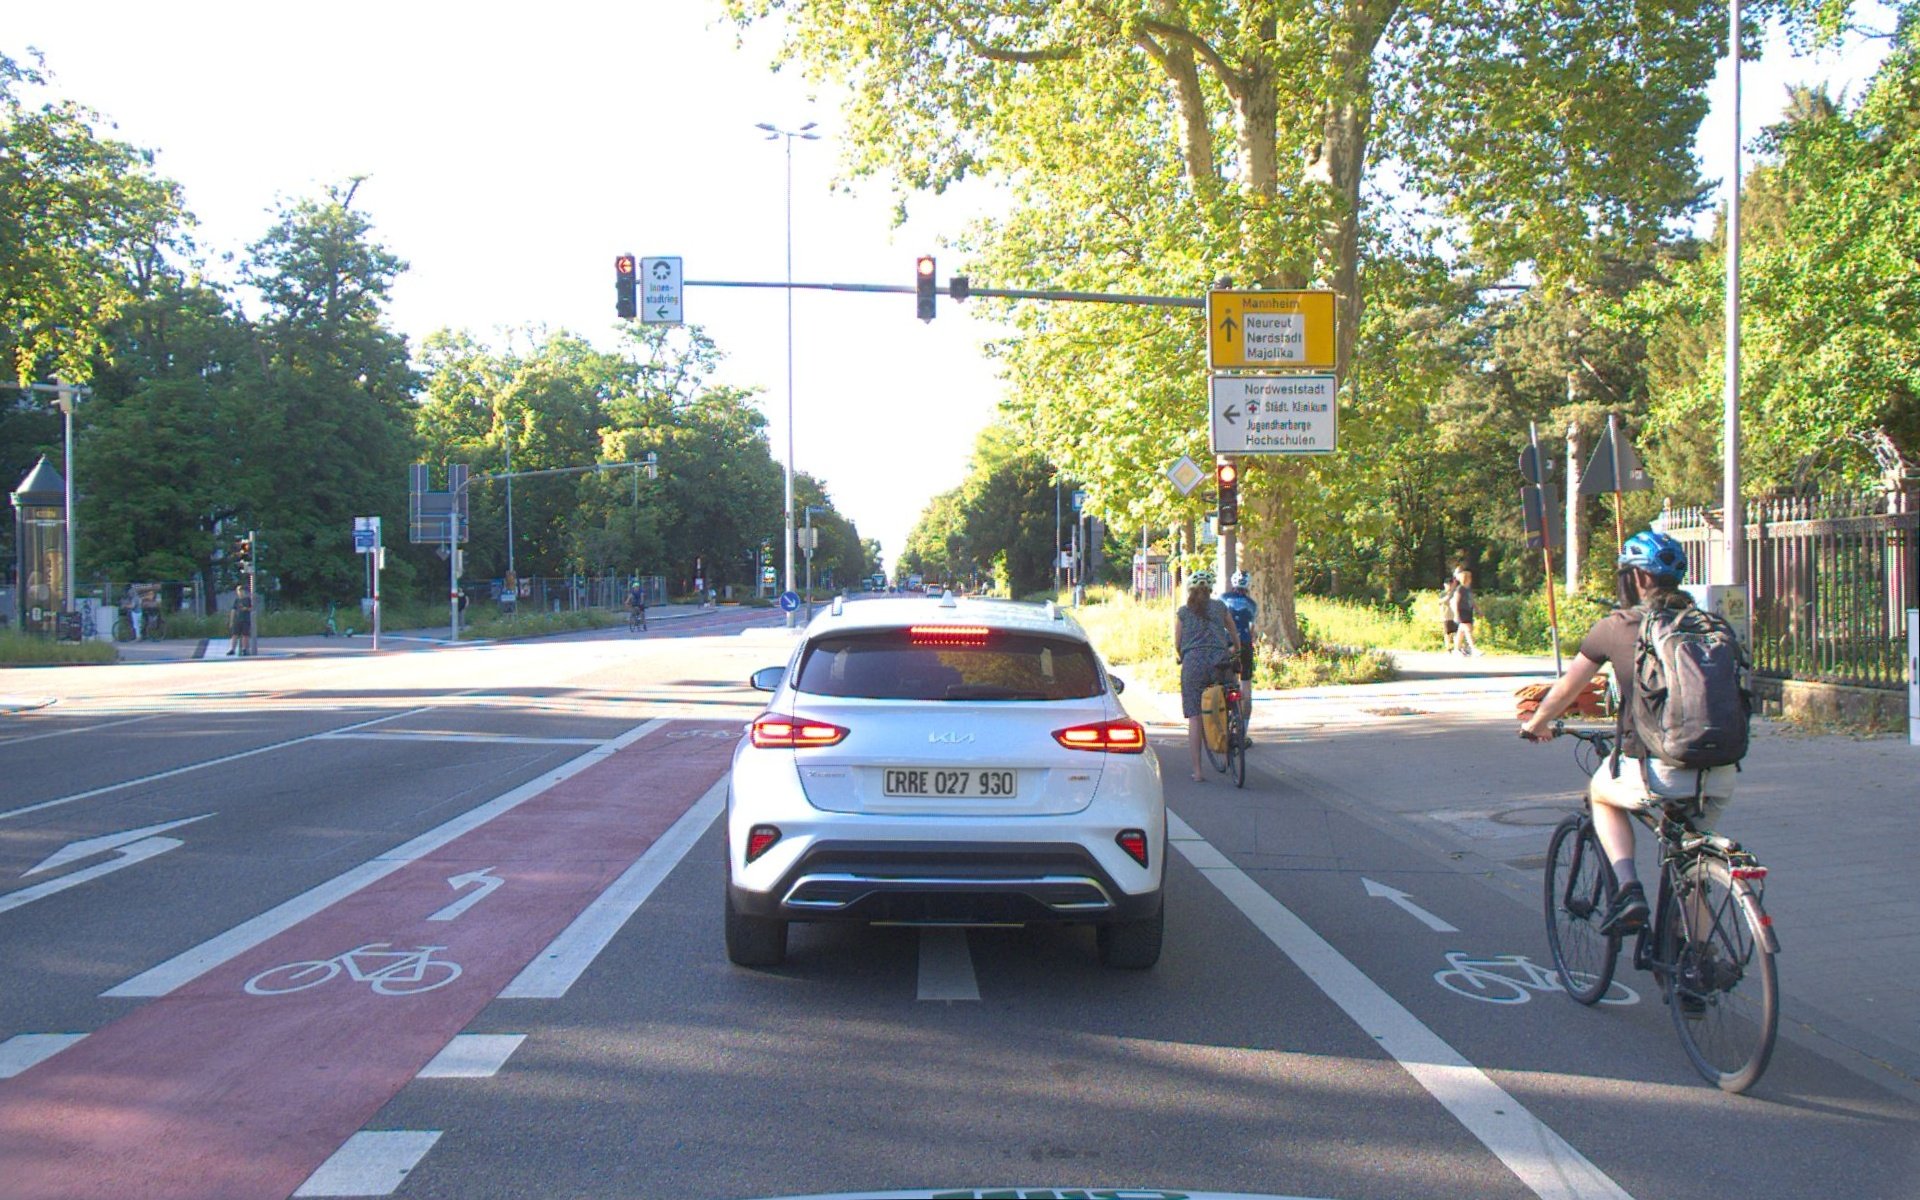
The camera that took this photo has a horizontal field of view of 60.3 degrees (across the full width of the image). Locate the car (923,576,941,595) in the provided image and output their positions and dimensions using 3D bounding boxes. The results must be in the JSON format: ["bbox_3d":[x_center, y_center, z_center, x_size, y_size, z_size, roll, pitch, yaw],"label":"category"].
[{"bbox_3d":[-3.092,-1.651,185.090,1.953,2.049,3.999,-1,1,-1],"label":"car"}]

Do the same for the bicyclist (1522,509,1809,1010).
[{"bbox_3d":[2.425,0.519,5.753,0.652,1.630,0.720,1,0,-2],"label":"bicyclist"}]

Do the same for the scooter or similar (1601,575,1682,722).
[{"bbox_3d":[6.538,0.442,15.904,0.223,1.350,1.171,-1,0,-2],"label":"scooter or similar"}]

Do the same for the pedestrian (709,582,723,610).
[{"bbox_3d":[-15.527,-0.258,105.296,0.769,1.817,0.751,0,0,0],"label":"pedestrian"}]

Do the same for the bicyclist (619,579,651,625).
[{"bbox_3d":[-11.874,0.064,60.492,0.857,1.636,1.188,-1,0,1],"label":"bicyclist"}]

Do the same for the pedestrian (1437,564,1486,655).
[{"bbox_3d":[9.647,0.176,31.809,0.676,1.729,0.643,-1,0,-7],"label":"pedestrian"}]

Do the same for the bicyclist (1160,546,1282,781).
[{"bbox_3d":[2.121,0.492,13.566,0.738,1.827,1.164,1,0,-2],"label":"bicyclist"}]

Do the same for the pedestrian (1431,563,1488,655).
[{"bbox_3d":[10.018,0.168,33.210,0.802,1.802,0.831,-1,0,-8],"label":"pedestrian"}]

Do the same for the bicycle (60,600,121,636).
[{"bbox_3d":[-28.285,0.584,53.827,1.822,1.168,0.443,0,0,7],"label":"bicycle"}]

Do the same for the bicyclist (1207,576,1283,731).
[{"bbox_3d":[2.870,0.529,16.694,0.543,1.504,0.716,-3,0,-2],"label":"bicyclist"}]

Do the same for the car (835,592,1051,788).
[{"bbox_3d":[-0.204,0.703,14.943,1.694,1.509,3.515,-1,1,-3],"label":"car"}]

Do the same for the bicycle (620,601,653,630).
[{"bbox_3d":[-11.853,0.565,60.712,0.650,1.006,2.504,-1,1,1],"label":"bicycle"}]

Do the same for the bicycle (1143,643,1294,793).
[{"bbox_3d":[2.103,0.929,13.821,0.742,1.031,2.568,1,1,-2],"label":"bicycle"}]

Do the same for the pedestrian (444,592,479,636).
[{"bbox_3d":[-19.016,0.529,63.097,1.067,1.631,0.999,-1,0,-7],"label":"pedestrian"}]

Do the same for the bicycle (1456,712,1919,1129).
[{"bbox_3d":[2.415,0.991,5.781,0.655,1.027,2.080,1,1,-2],"label":"bicycle"}]

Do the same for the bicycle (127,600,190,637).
[{"bbox_3d":[-25.936,0.597,53.549,1.826,1.168,0.290,0,0,-8],"label":"bicycle"}]

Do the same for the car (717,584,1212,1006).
[{"bbox_3d":[-0.053,0.680,7.927,1.785,1.506,3.934,0,1,-2],"label":"car"}]

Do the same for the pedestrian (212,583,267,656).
[{"bbox_3d":[-20.452,0.554,46.966,0.974,2.049,1.191,0,0,4],"label":"pedestrian"}]

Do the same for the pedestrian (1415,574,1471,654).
[{"bbox_3d":[9.524,0.269,32.613,0.802,1.544,0.916,0,0,-3],"label":"pedestrian"}]

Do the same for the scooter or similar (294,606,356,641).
[{"bbox_3d":[-21.306,0.787,55.504,0.697,1.144,1.916,0,0,32],"label":"scooter or similar"}]

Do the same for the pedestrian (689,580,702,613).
[{"bbox_3d":[-16.773,-0.233,104.896,0.627,2.049,0.754,0,0,11],"label":"pedestrian"}]

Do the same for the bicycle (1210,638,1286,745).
[{"bbox_3d":[2.892,0.899,16.709,0.393,0.973,1.550,-3,0,-2],"label":"bicycle"}]
